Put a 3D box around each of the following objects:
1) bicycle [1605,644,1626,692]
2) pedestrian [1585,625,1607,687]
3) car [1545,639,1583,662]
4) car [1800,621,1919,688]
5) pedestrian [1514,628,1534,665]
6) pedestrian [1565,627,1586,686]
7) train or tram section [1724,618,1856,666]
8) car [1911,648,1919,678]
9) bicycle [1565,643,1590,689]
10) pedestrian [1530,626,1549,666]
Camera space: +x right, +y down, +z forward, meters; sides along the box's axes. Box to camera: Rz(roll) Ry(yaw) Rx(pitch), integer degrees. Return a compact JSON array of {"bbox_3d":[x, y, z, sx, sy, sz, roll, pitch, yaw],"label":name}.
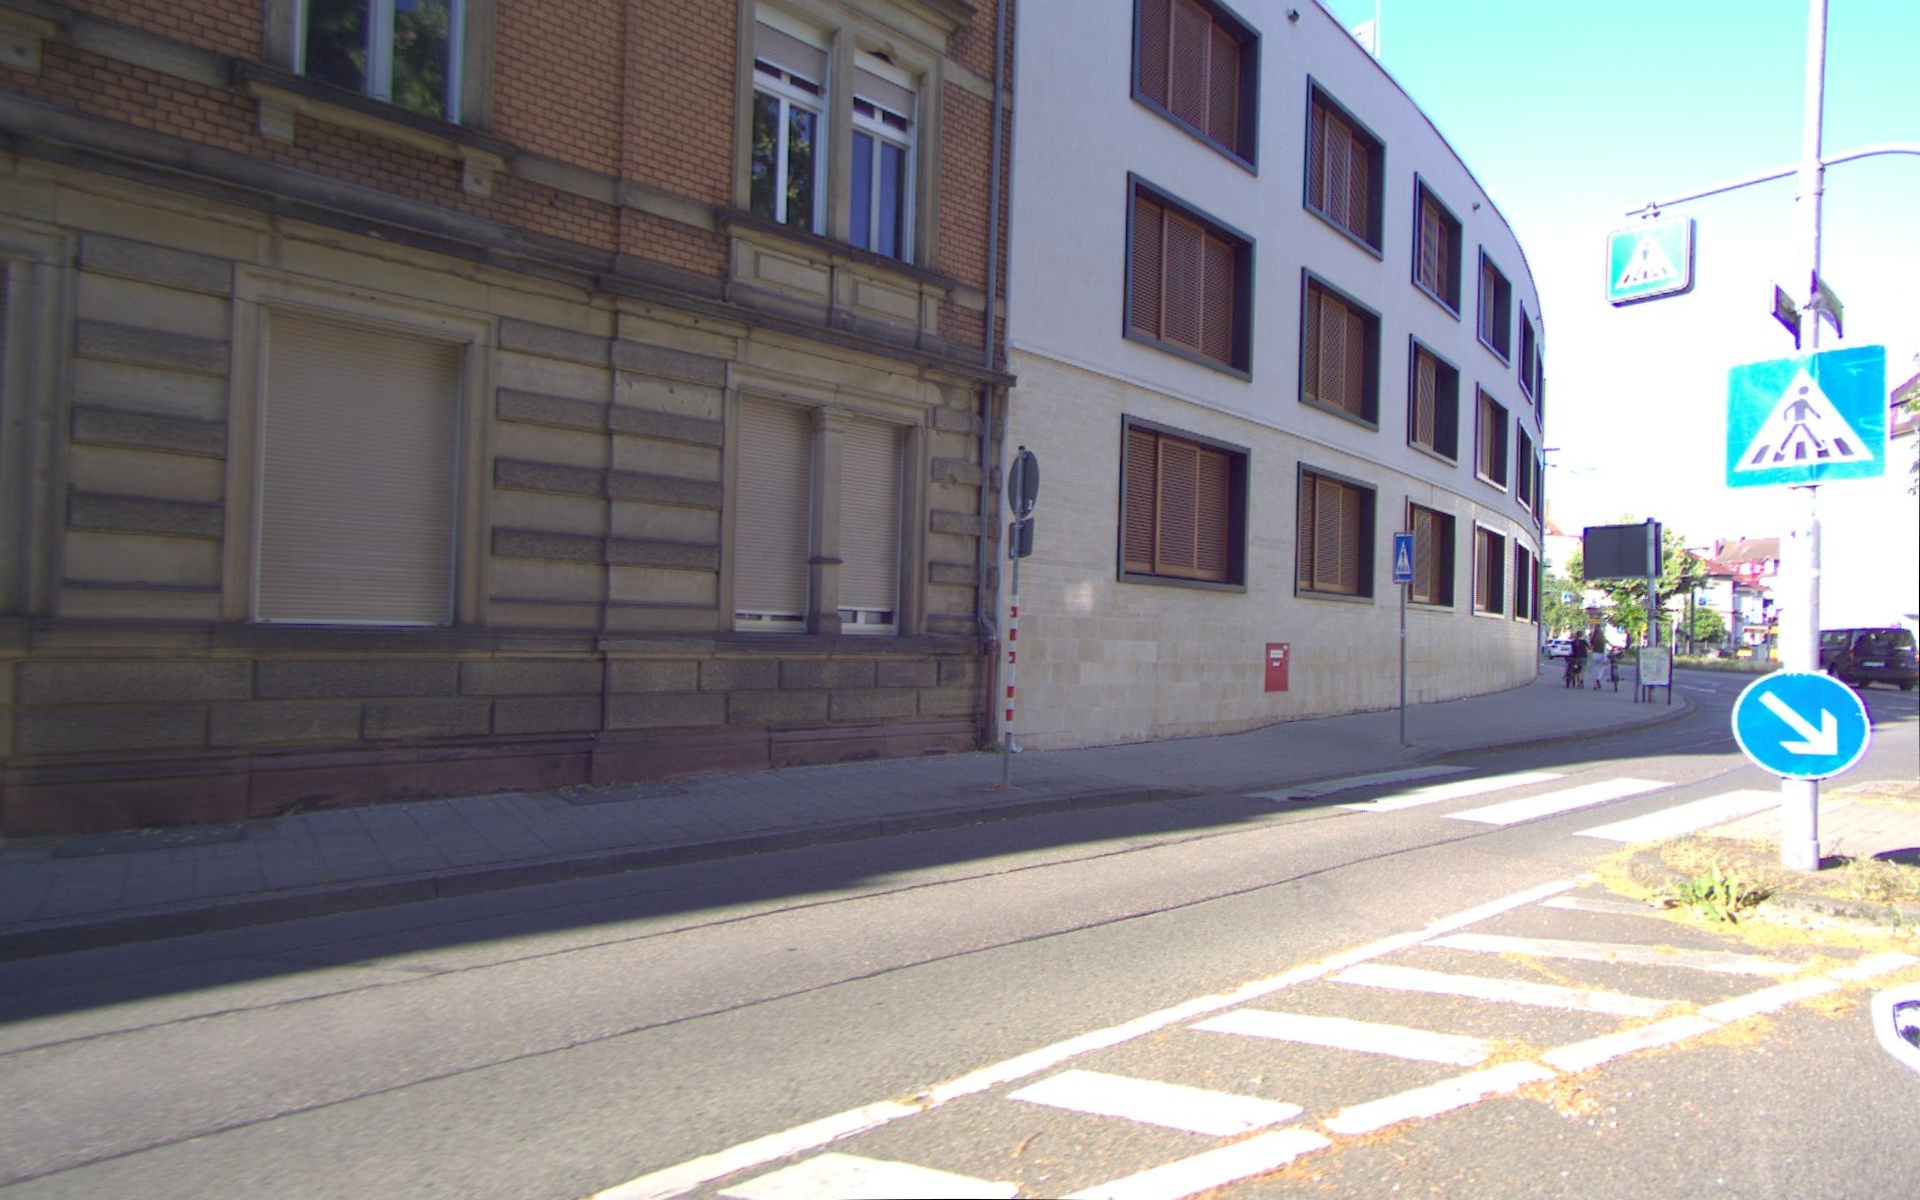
[{"bbox_3d":[17.677,1.807,27.073,0.434,1.194,1.961,2,0,33],"label":"bicycle"},{"bbox_3d":[17.362,1.518,27.418,0.467,1.669,0.600,0,-2,35],"label":"pedestrian"},{"bbox_3d":[41.707,3.474,69.408,1.928,1.525,3.682,0,-2,26],"label":"car"},{"bbox_3d":[29.982,1.766,33.617,1.963,2.040,3.995,2,-1,27],"label":"car"},{"bbox_3d":[26.920,2.231,47.987,0.691,1.736,0.842,2,-1,23],"label":"pedestrian"},{"bbox_3d":[16.977,1.552,27.714,0.467,1.585,0.600,0,-2,34],"label":"pedestrian"},{"bbox_3d":[67.448,3.394,81.634,9.745,3.602,2.779,2,-1,-11],"label":"train or tram section"},{"bbox_3d":[47.222,3.032,46.757,1.959,1.405,4.449,1,-1,6],"label":"car"},{"bbox_3d":[17.068,1.804,27.755,0.371,1.182,1.831,4,1,36],"label":"bicycle"},{"bbox_3d":[27.508,2.173,47.710,0.595,1.873,0.992,2,-1,23],"label":"pedestrian"}]
